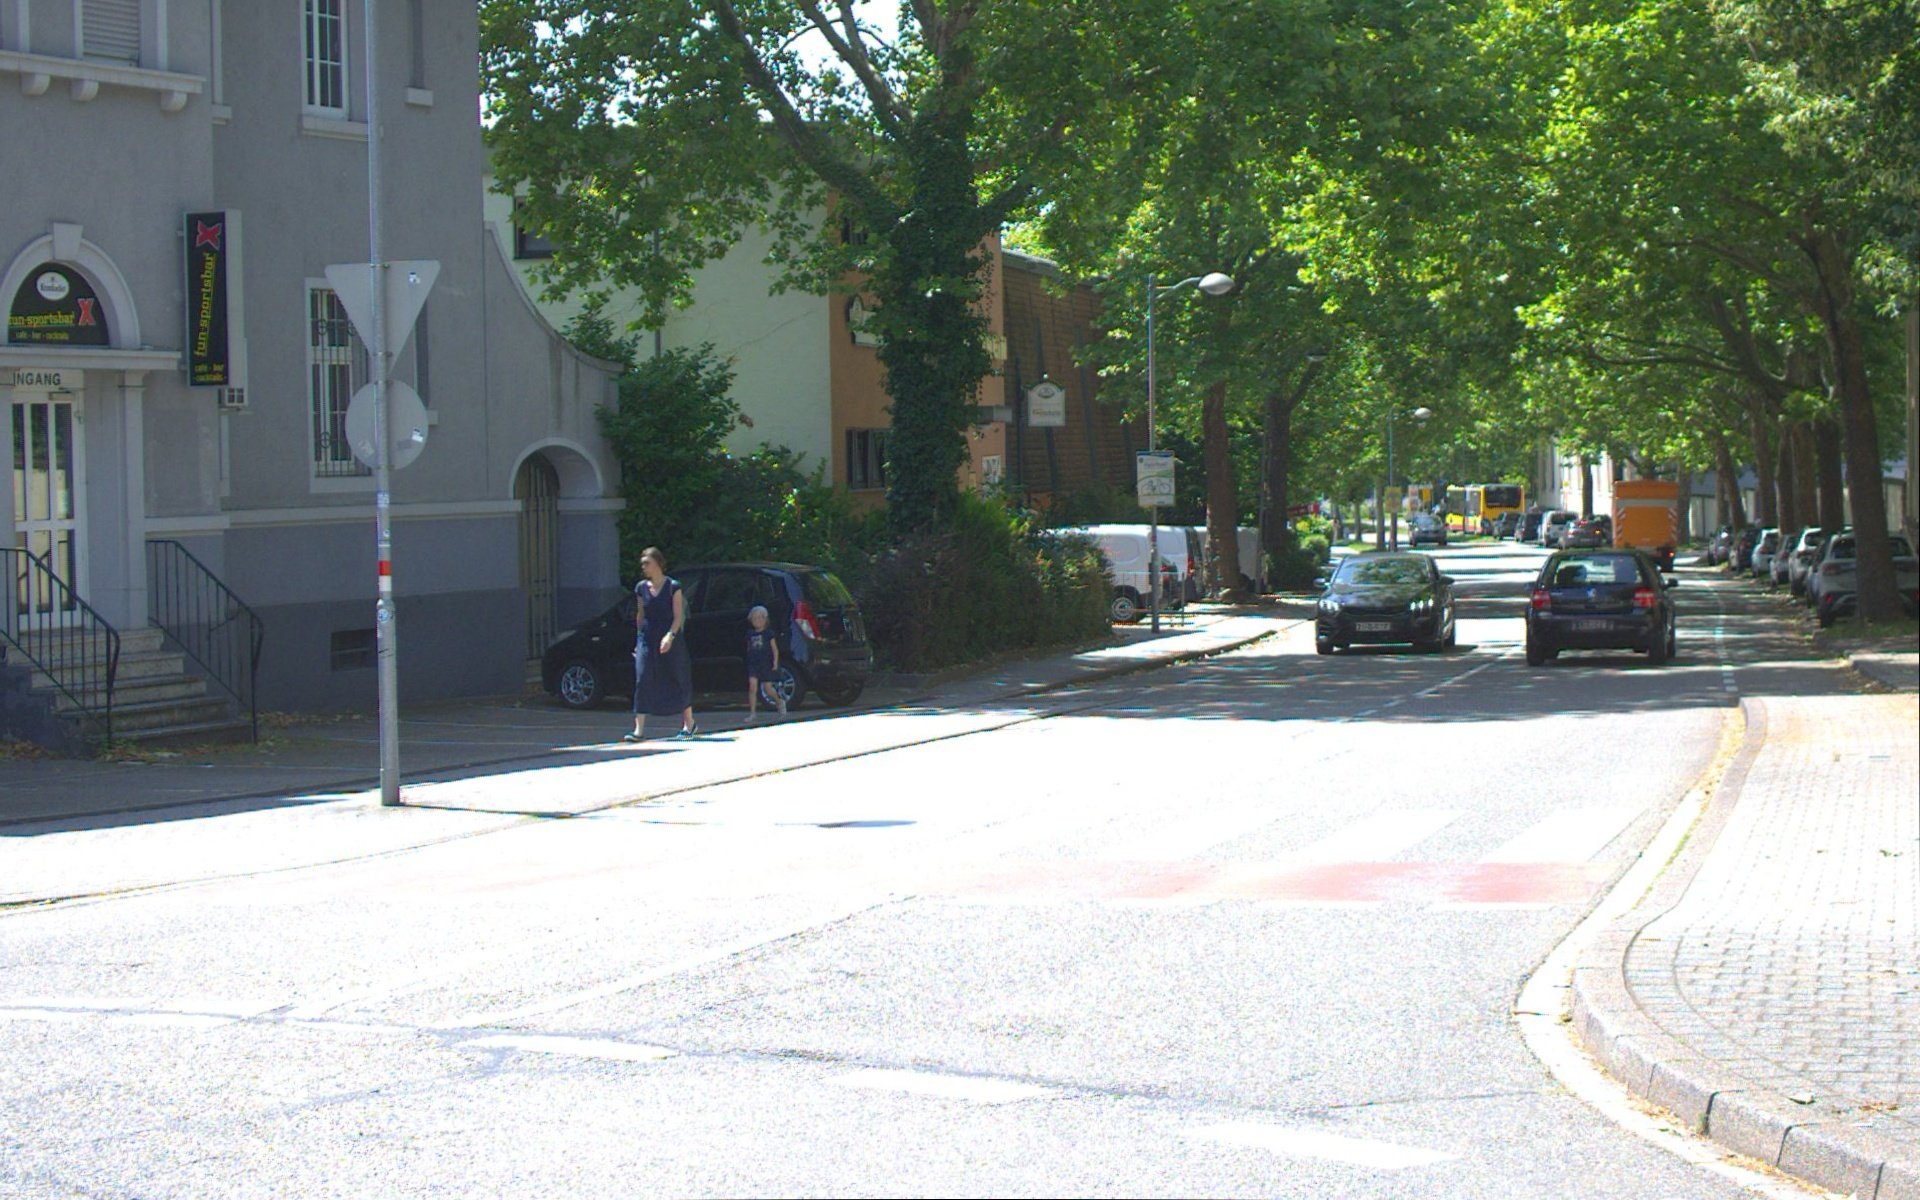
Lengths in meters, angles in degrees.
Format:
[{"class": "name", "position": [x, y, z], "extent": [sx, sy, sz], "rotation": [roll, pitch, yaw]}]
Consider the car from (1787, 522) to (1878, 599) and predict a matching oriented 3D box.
[{"class": "car", "position": [20.472, -0.942, 80.813], "extent": [1.809, 1.683, 4.749], "rotation": [-2, 1, 12]}]

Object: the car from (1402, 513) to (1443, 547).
[{"class": "car", "position": [24.359, -3.680, 181.045], "extent": [1.994, 1.660, 3.999], "rotation": [-1, 0, 6]}]

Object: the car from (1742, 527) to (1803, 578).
[{"class": "car", "position": [24.823, -1.463, 105.093], "extent": [1.578, 1.461, 3.874], "rotation": [-2, 1, 11]}]

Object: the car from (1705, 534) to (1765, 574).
[{"class": "car", "position": [28.436, -1.705, 126.205], "extent": [1.767, 1.369, 3.729], "rotation": [-2, 1, 7]}]

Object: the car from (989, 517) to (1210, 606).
[{"class": "car", "position": [2.945, -0.818, 72.296], "extent": [4.425, 1.798, 1.902], "rotation": [1, 1, 9]}]

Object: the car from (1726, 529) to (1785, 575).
[{"class": "car", "position": [27.206, -1.643, 117.644], "extent": [1.767, 1.461, 3.874], "rotation": [-2, 1, 11]}]

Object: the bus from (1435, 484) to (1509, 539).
[{"class": "bus", "position": [30.891, -5.305, 207.800], "extent": [2.663, 3.140, 11.198], "rotation": [-1, 1, 0]}]

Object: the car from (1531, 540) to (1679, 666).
[{"class": "car", "position": [8.222, 0.004, 43.614], "extent": [1.712, 1.442, 4.056], "rotation": [-1, 2, 12]}]

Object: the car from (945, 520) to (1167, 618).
[{"class": "car", "position": [1.849, -0.607, 65.409], "extent": [3.988, 1.786, 1.867], "rotation": [1, 1, 9]}]

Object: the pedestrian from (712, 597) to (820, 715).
[{"class": "pedestrian", "position": [-1.899, 0.548, 33.762], "extent": [0.754, 1.118, 0.896], "rotation": [-1, 1, 19]}]

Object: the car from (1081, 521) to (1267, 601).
[{"class": "car", "position": [5.015, -0.919, 80.196], "extent": [4.130, 1.798, 1.902], "rotation": [1, 1, 9]}]

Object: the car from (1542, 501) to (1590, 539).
[{"class": "car", "position": [29.077, -3.841, 165.076], "extent": [1.879, 1.680, 3.999], "rotation": [-1, 0, 5]}]

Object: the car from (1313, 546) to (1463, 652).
[{"class": "car", "position": [6.276, -0.045, 50.069], "extent": [1.769, 1.421, 4.390], "rotation": [-1, 1, 12]}]

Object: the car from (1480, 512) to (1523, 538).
[{"class": "car", "position": [30.241, -4.192, 192.003], "extent": [1.766, 1.369, 3.730], "rotation": [-2, 1, 0]}]

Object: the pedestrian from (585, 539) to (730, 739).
[{"class": "pedestrian", "position": [-2.686, 0.332, 30.590], "extent": [0.872, 1.736, 1.111], "rotation": [-1, 1, 19]}]

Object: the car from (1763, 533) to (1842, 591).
[{"class": "car", "position": [22.280, -1.017, 91.043], "extent": [1.767, 1.428, 3.874], "rotation": [-2, 1, 11]}]

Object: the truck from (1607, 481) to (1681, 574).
[{"class": "truck", "position": [23.924, -2.499, 120.416], "extent": [2.371, 3.123, 5.766], "rotation": [-1, 0, 10]}]

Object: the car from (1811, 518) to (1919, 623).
[{"class": "car", "position": [15.262, -0.531, 57.763], "extent": [1.742, 1.552, 4.777], "rotation": [-2, 1, 13]}]

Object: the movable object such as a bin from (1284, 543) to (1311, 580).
[{"class": "movable object such as a bin", "position": [9.604, -1.088, 97.813], "extent": [0.624, 1.045, 0.620], "rotation": [-1, 1, 18]}]

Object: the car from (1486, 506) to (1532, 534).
[{"class": "car", "position": [29.374, -4.259, 183.877], "extent": [1.766, 1.369, 3.730], "rotation": [-2, 1, -1]}]

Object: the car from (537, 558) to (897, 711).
[{"class": "car", "position": [-2.581, 0.364, 36.668], "extent": [3.385, 1.541, 1.722], "rotation": [-1, 1, 22]}]

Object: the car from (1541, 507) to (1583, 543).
[{"class": "car", "position": [30.130, -3.730, 172.144], "extent": [1.880, 1.680, 3.999], "rotation": [-1, 0, 7]}]
